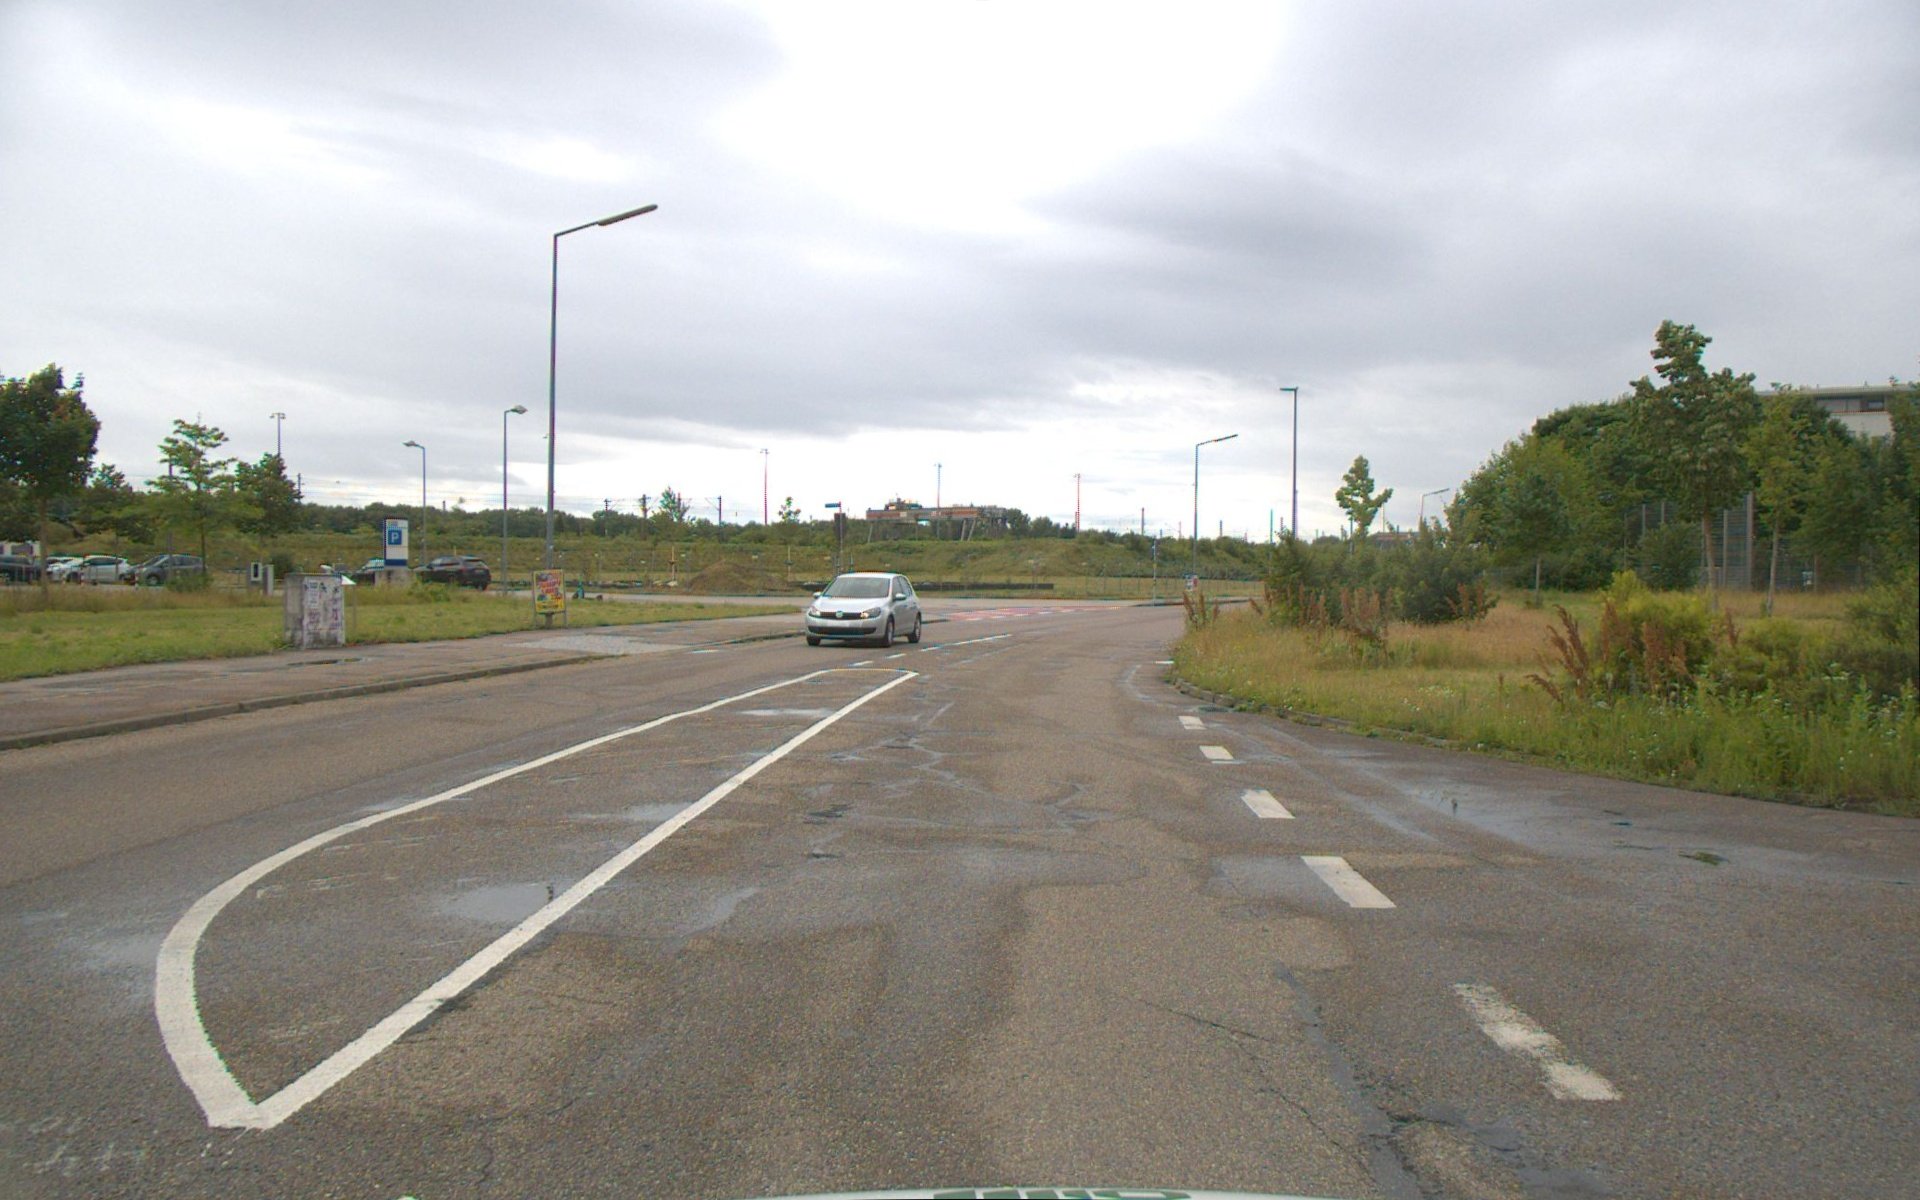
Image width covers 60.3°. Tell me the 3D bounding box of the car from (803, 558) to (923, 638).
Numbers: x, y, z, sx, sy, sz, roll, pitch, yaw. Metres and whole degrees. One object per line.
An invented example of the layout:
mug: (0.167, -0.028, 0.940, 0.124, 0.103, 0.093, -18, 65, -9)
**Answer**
car: (-1.951, -0.088, 34.547, 1.636, 1.487, 4.060, 3, 2, 9)

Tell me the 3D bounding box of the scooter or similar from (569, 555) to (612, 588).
scooter or similar: (-13.900, -1.082, 62.201, 1.431, 1.188, 0.572, 2, 1, 9)

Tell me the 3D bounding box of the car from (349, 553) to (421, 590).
car: (-29.265, -1.473, 84.162, 3.604, 1.783, 1.798, 2, 3, 37)

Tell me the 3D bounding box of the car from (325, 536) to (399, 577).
car: (-30.995, -2.269, 85.659, 3.928, 2.048, 1.989, 2, 3, 41)

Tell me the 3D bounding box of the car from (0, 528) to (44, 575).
car: (-63.047, -3.225, 108.532, 6.445, 3.008, 2.705, 2, 3, 36)

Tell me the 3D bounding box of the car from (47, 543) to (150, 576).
car: (-42.300, -2.014, 81.285, 1.955, 1.543, 4.149, 1, 2, 27)

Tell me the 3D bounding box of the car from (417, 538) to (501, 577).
car: (-24.602, -2.119, 81.209, 3.921, 1.854, 1.993, 2, 3, 36)

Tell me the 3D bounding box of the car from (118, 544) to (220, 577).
car: (-36.646, -1.847, 76.706, 1.663, 1.467, 3.989, 2, 3, 33)
